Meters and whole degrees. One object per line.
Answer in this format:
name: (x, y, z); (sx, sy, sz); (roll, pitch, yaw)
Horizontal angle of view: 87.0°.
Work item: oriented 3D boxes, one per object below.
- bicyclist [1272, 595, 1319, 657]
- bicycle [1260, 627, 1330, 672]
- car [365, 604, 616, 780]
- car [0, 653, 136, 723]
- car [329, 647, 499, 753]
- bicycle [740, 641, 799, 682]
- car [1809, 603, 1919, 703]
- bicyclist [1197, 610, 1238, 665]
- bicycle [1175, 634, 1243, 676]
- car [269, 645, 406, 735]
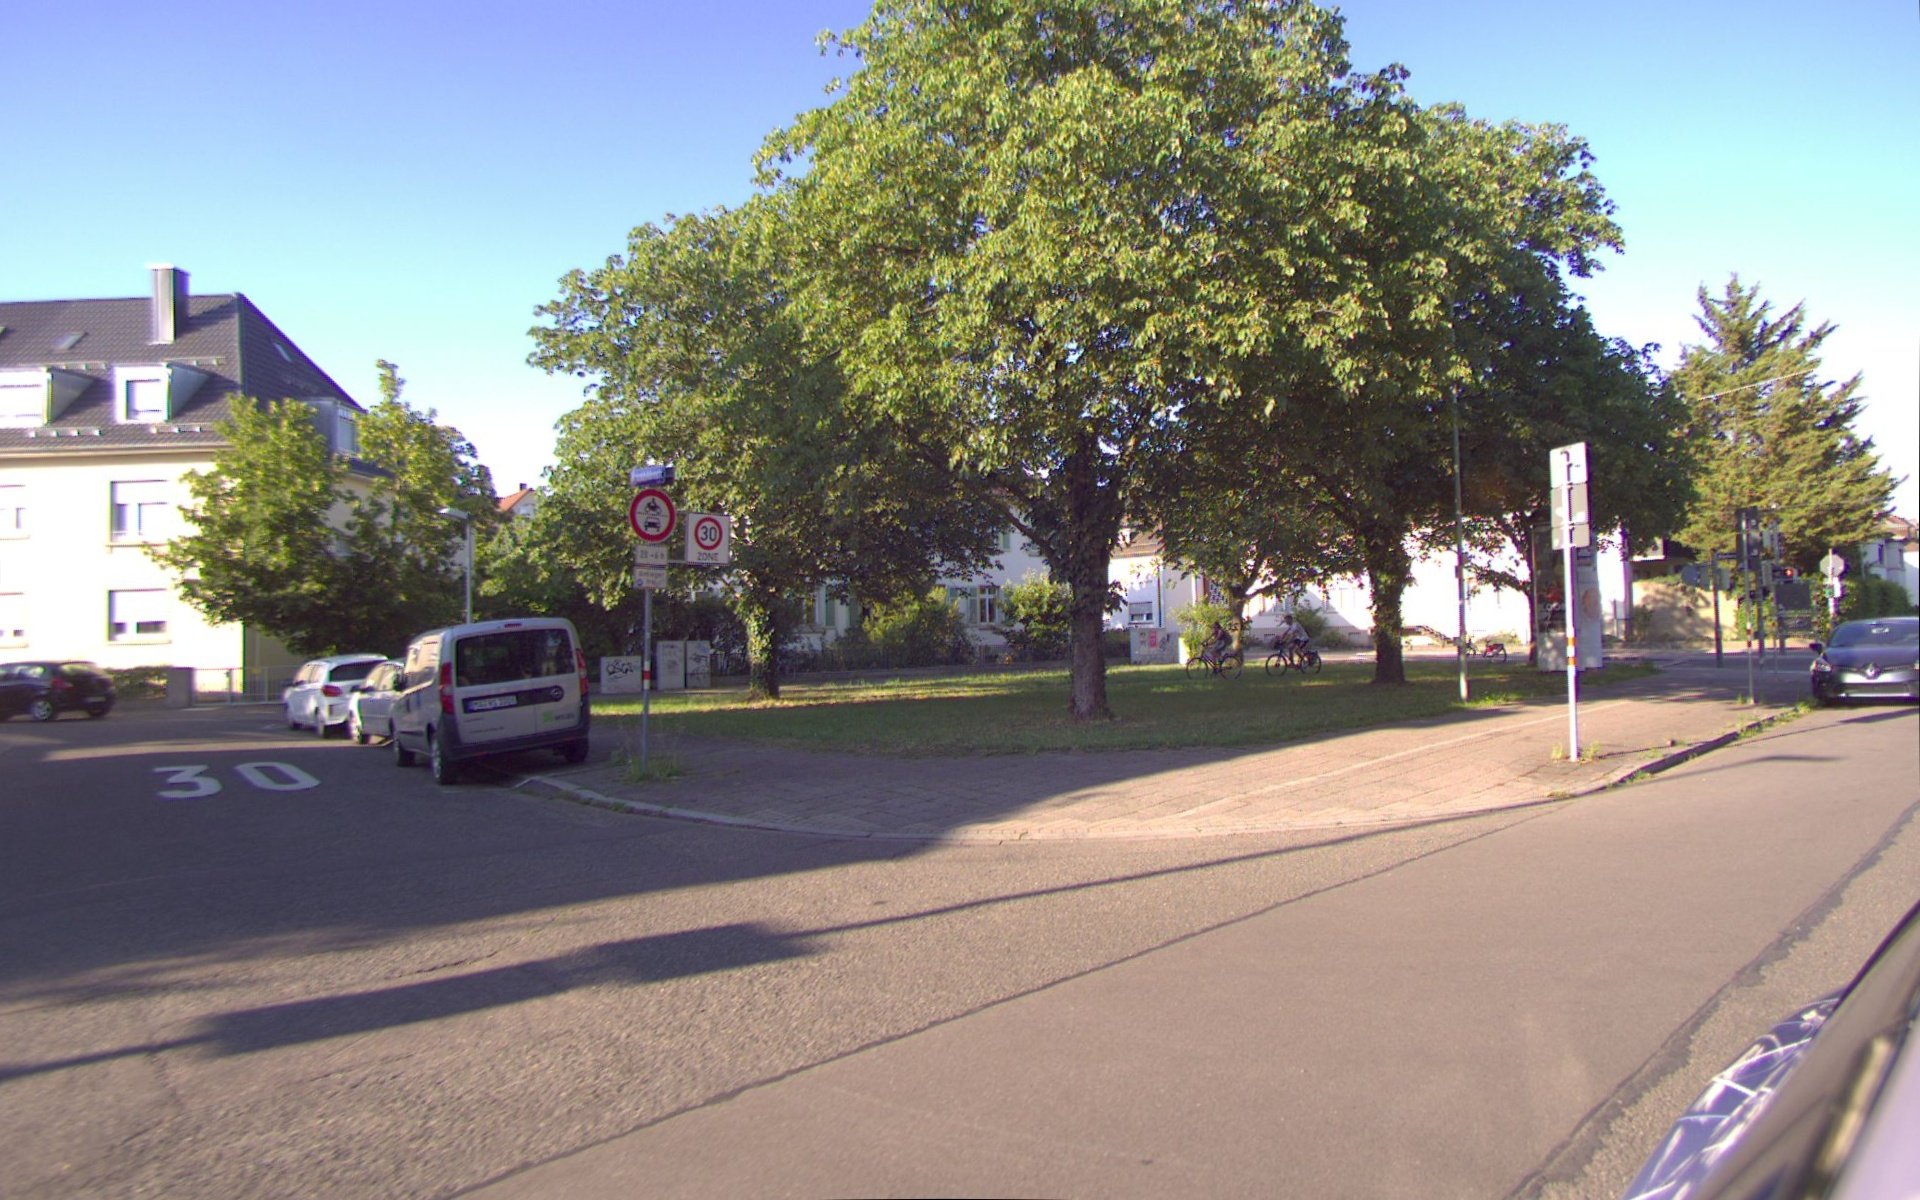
bicyclist: (9.894, 0.775, 29.882); (0.875, 1.755, 0.818); (-3, -4, -13)
bicycle: (9.884, 1.460, 29.869); (1.866, 1.199, 0.575); (-3, -4, -13)
car: (-6.353, 1.136, 13.416); (1.995, 1.899, 4.248); (-1, -3, -40)
car: (-23.136, 2.165, 25.029); (3.925, 1.572, 1.998); (-1, -2, 1)
car: (-9.252, 1.614, 17.044); (1.579, 1.535, 3.553); (0, -3, -45)
bicycle: (-6.239, 2.013, 33.224); (1.920, 1.254, 0.449); (1, -3, -42)
car: (16.527, 0.853, 17.747); (4.461, 1.531, 1.727); (-1, -4, -41)
bicyclist: (7.567, 1.092, 29.737); (0.875, 1.582, 0.716); (-2, -1, -13)
bicycle: (7.303, 1.596, 29.681); (1.923, 1.199, 0.493); (0, -1, -12)
car: (-12.596, 1.796, 20.379); (1.499, 1.543, 3.922); (-2, -3, -44)
